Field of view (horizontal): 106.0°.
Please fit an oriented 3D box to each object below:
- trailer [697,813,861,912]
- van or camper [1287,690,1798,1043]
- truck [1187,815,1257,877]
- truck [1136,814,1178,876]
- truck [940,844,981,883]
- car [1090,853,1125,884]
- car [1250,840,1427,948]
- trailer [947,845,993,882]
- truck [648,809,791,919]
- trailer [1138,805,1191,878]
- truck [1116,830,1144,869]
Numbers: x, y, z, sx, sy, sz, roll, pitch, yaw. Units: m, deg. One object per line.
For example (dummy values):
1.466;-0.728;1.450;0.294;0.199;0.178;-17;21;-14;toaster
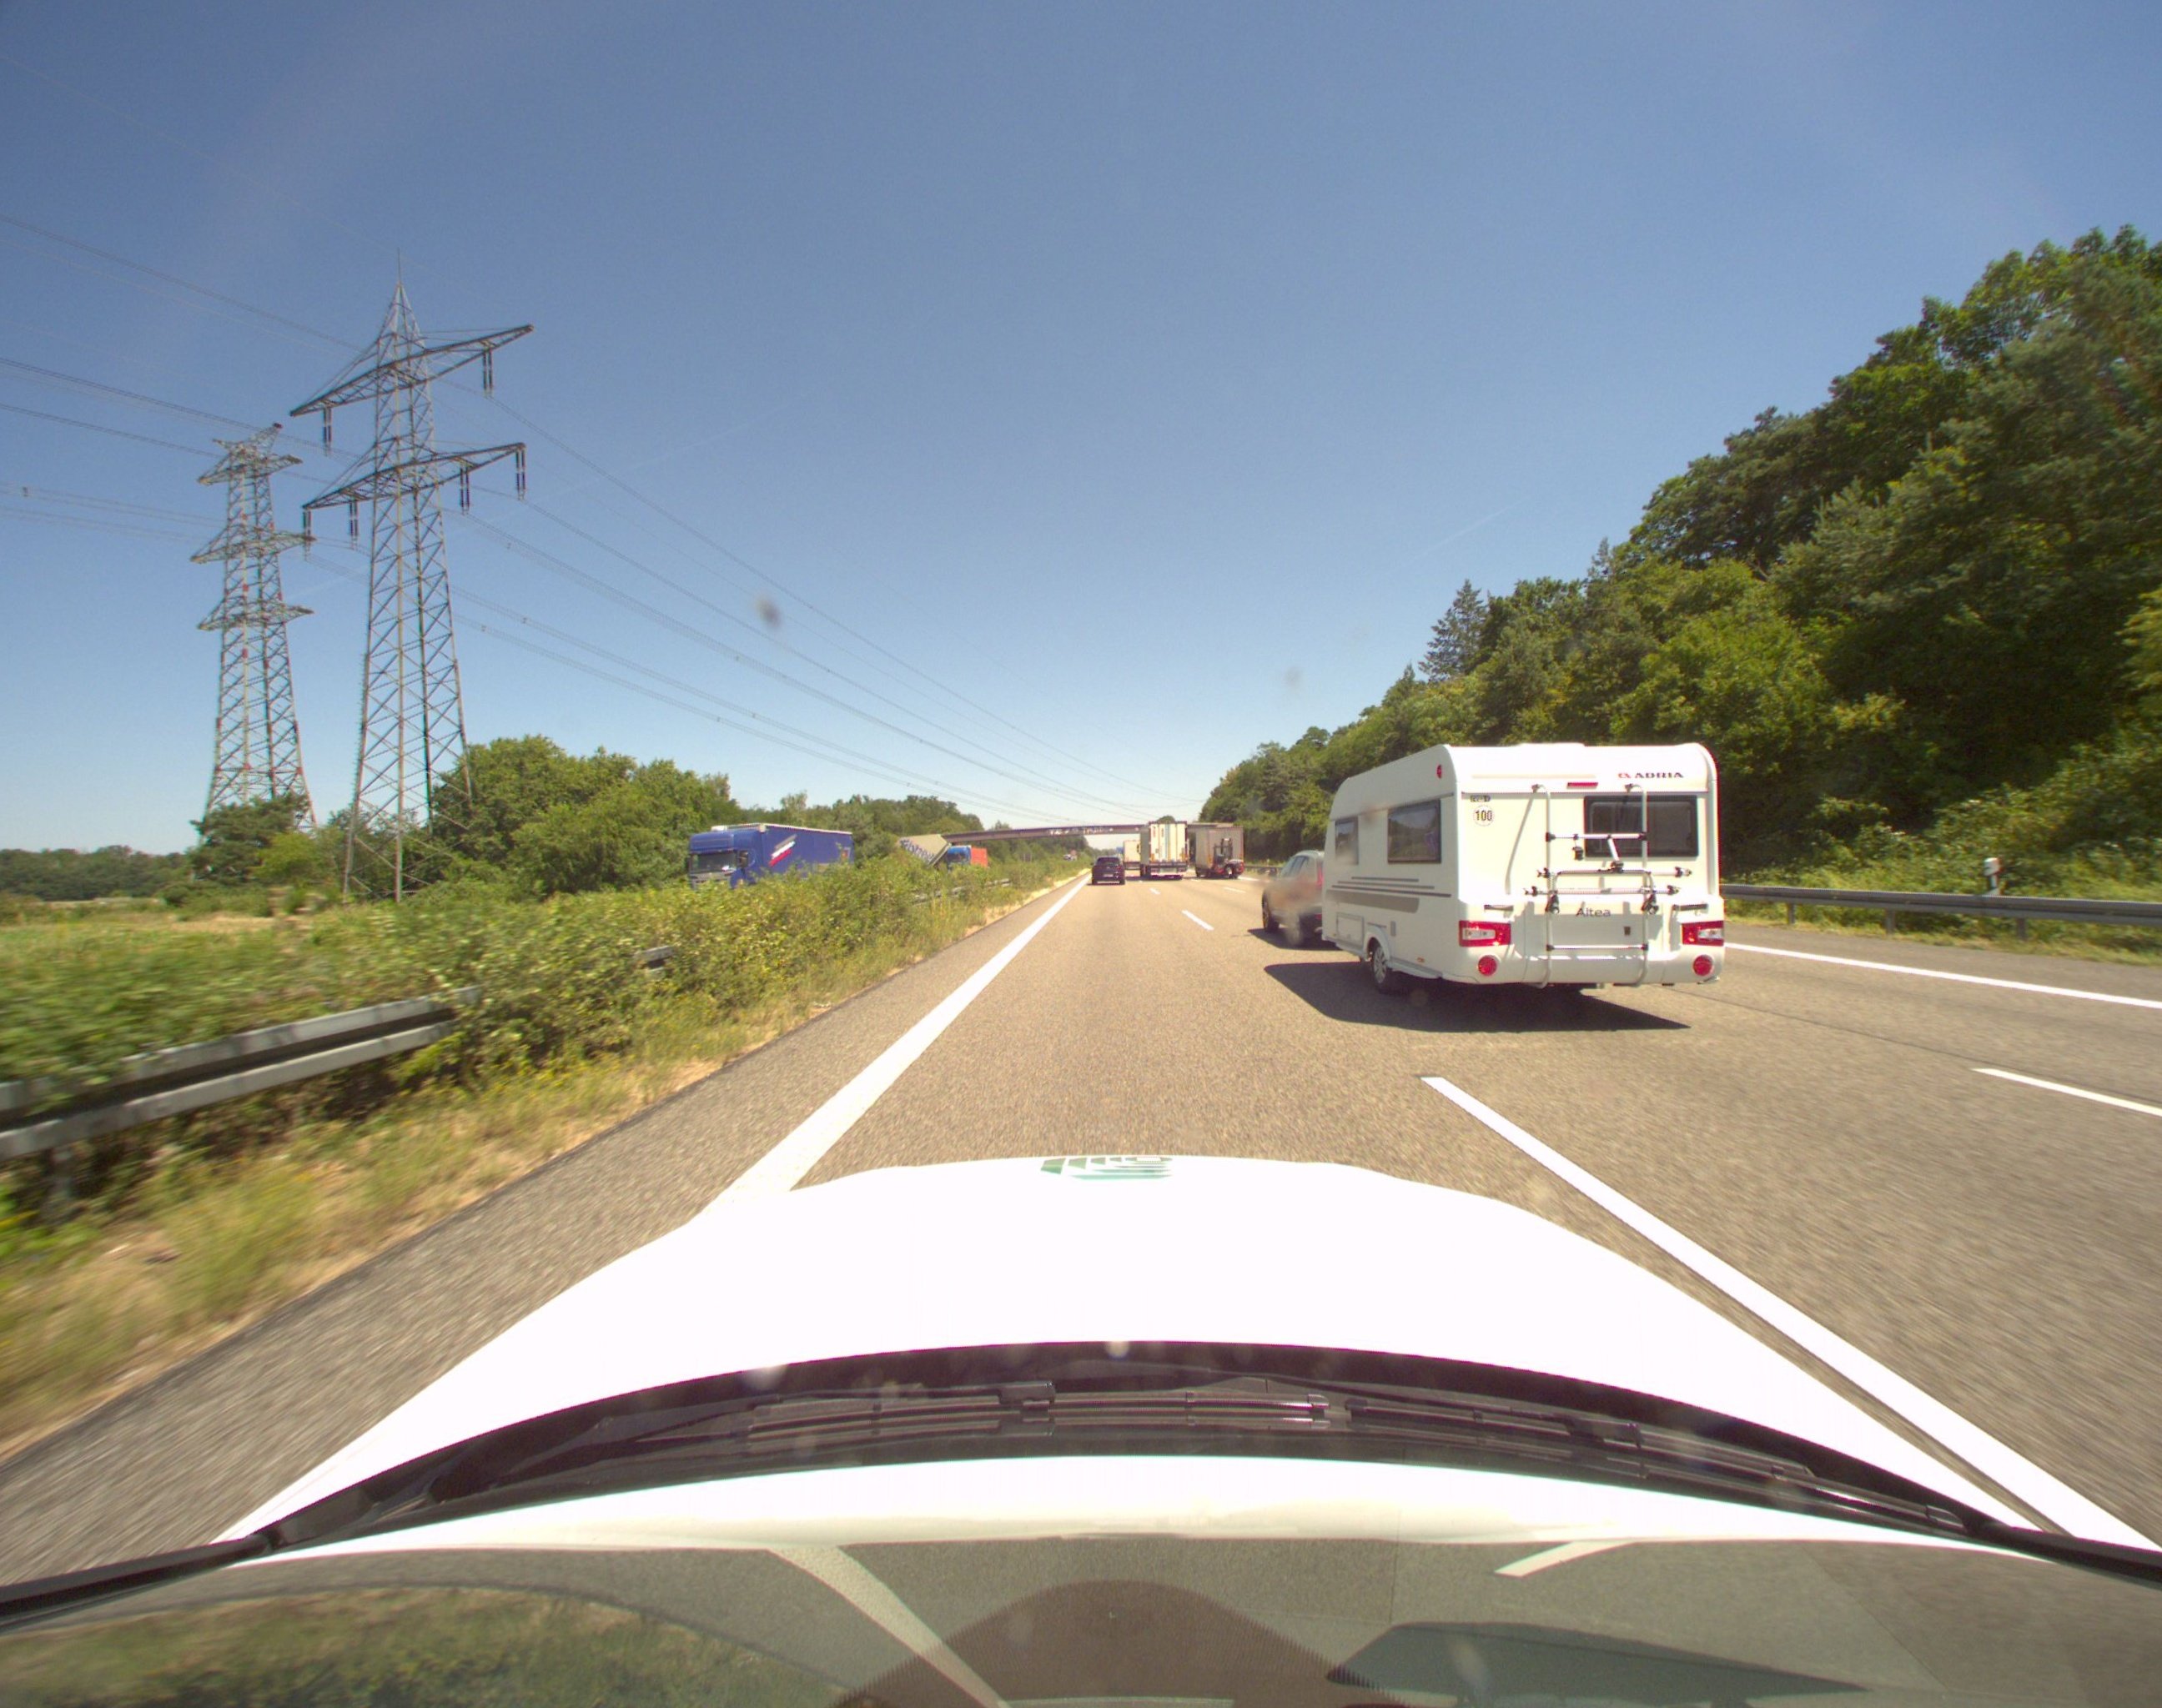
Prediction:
-16.054;0.440;45.171;3.076;4.407;14.237;-4;0;2;trailer
4.384;0.099;9.506;2.430;2.675;6.351;-2;0;1;van or camper
10.392;-0.480;61.475;3.557;4.245;11.656;0;-1;2;truck
6.239;-0.686;67.517;3.075;4.885;6.600;0;-1;2;truck
-14.502;1.152;98.380;3.331;4.407;7.974;-3;0;2;truck
1.563;0.838;48.957;1.987;1.772;4.000;-2;0;0;car
4.522;0.641;15.109;1.872;1.612;4.703;-3;0;2;car
-14.246;1.186;105.777;3.331;4.407;14.171;-3;0;2;trailer
-16.336;0.424;37.494;3.076;4.407;6.803;-4;0;2;truck
6.019;-0.760;60.491;3.075;4.885;12.262;0;-1;2;trailer
6.762;-0.620;113.661;3.499;5.166;10.262;-1;0;2;truck
